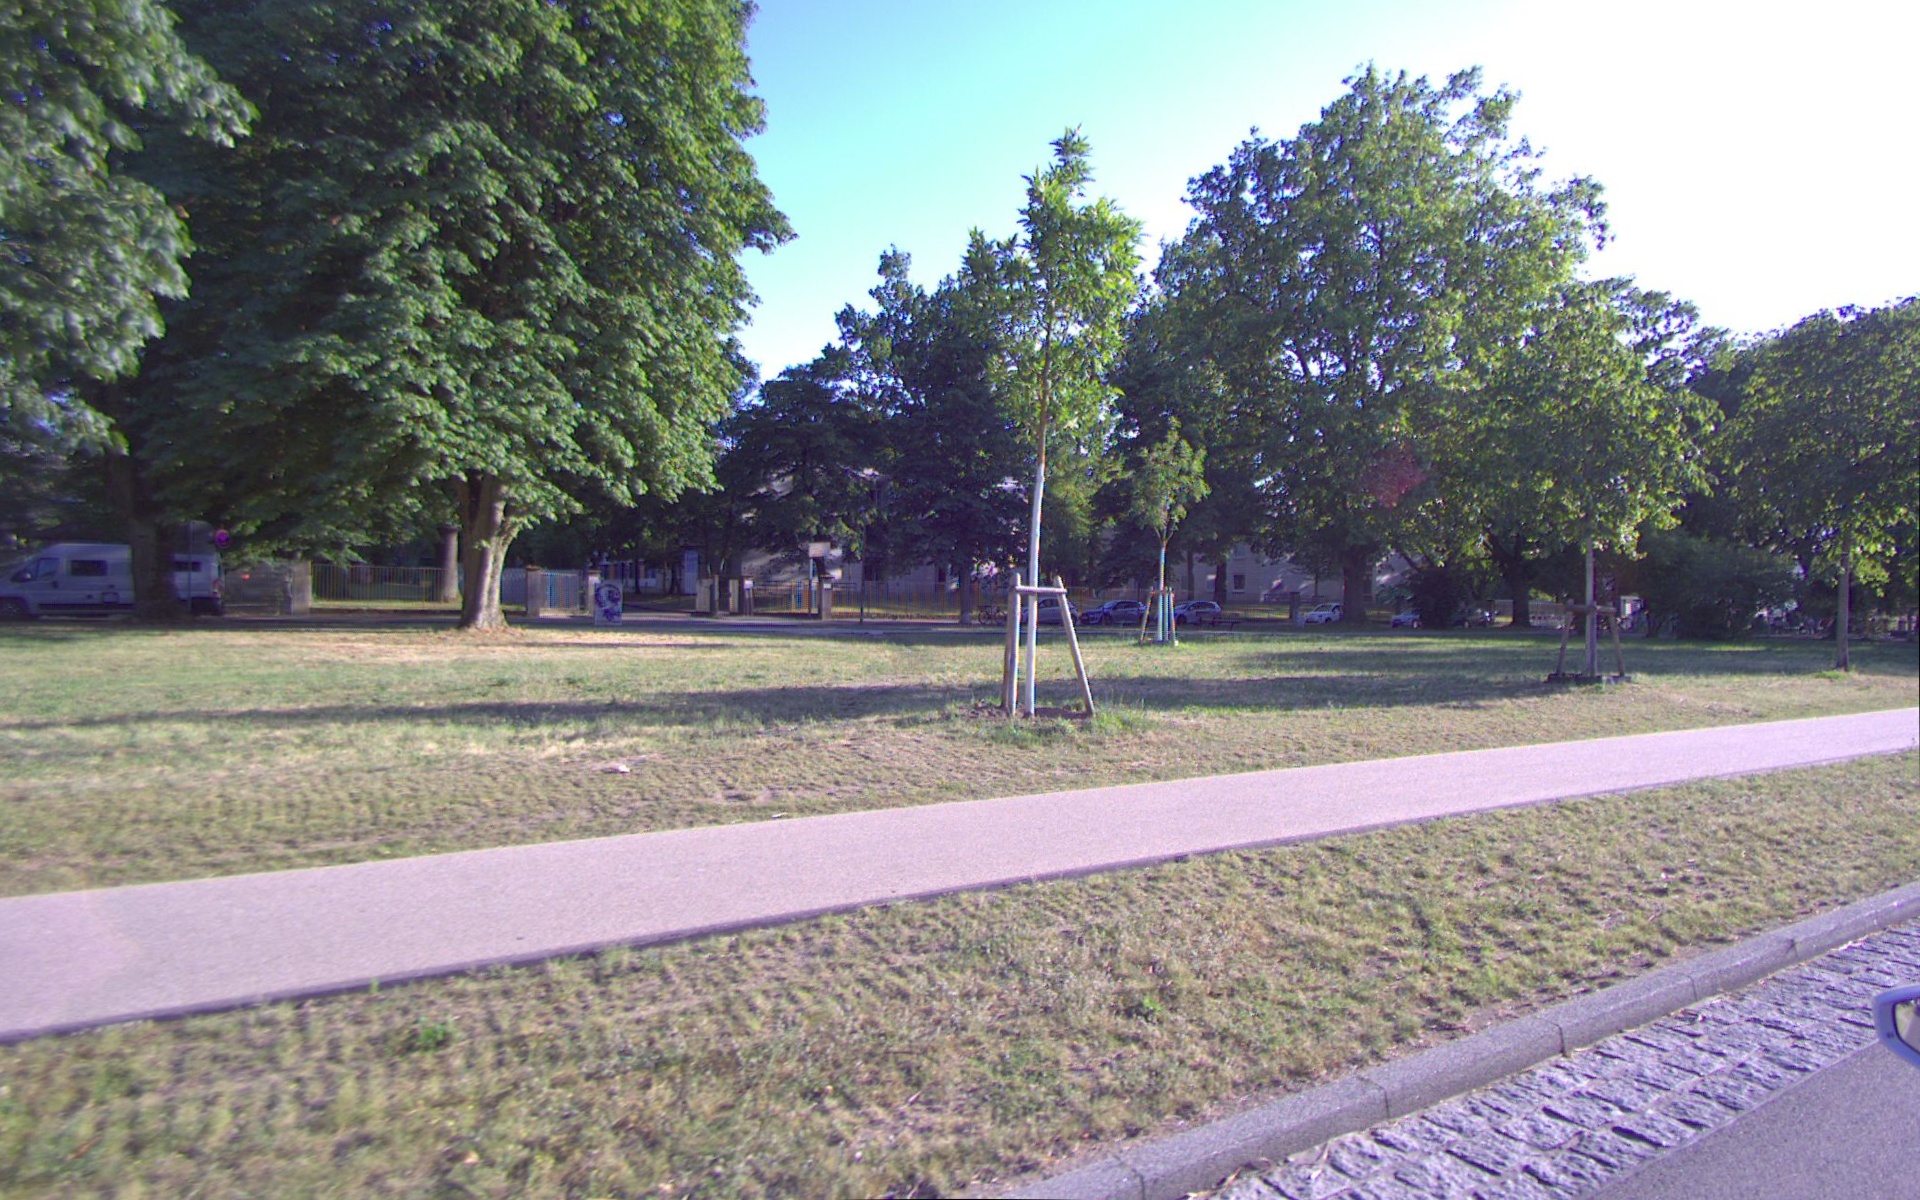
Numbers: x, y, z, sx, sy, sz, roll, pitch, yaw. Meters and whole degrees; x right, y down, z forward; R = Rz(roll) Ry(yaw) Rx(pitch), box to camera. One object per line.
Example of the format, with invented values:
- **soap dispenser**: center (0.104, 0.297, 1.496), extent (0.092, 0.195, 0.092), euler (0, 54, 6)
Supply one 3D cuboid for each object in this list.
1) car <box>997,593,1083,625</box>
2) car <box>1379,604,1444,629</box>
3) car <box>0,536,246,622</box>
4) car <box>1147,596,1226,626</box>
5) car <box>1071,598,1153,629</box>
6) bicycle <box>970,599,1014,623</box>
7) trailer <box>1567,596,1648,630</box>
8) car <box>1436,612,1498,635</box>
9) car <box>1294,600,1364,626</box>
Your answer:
- **car**: center (4.077, 0.478, 51.083), extent (3.953, 1.528, 1.984), euler (2, 0, -30)
- **car**: center (30.077, 1.102, 66.903), extent (4.067, 1.528, 1.984), euler (2, 0, -30)
- **car**: center (-26.921, -0.600, 32.284), extent (6.249, 2.496, 2.706), euler (2, 0, -32)
- **car**: center (12.673, 0.619, 56.139), extent (4.067, 1.528, 1.984), euler (2, 0, -30)
- **car**: center (8.084, 0.735, 53.426), extent (3.953, 1.528, 1.984), euler (2, 0, -30)
- **bicycle**: center (1.639, 0.587, 51.599), extent (2.309, 1.191, 0.653), euler (2, 0, -34)
- **trailer**: center (51.180, 1.062, 79.365), extent (6.967, 2.522, 2.447), euler (2, 0, -30)
- **car**: center (35.406, 1.639, 70.093), extent (4.067, 1.528, 1.984), euler (2, 0, -30)
- **car**: center (22.891, 0.787, 62.319), extent (4.067, 1.528, 1.984), euler (2, 0, -30)
